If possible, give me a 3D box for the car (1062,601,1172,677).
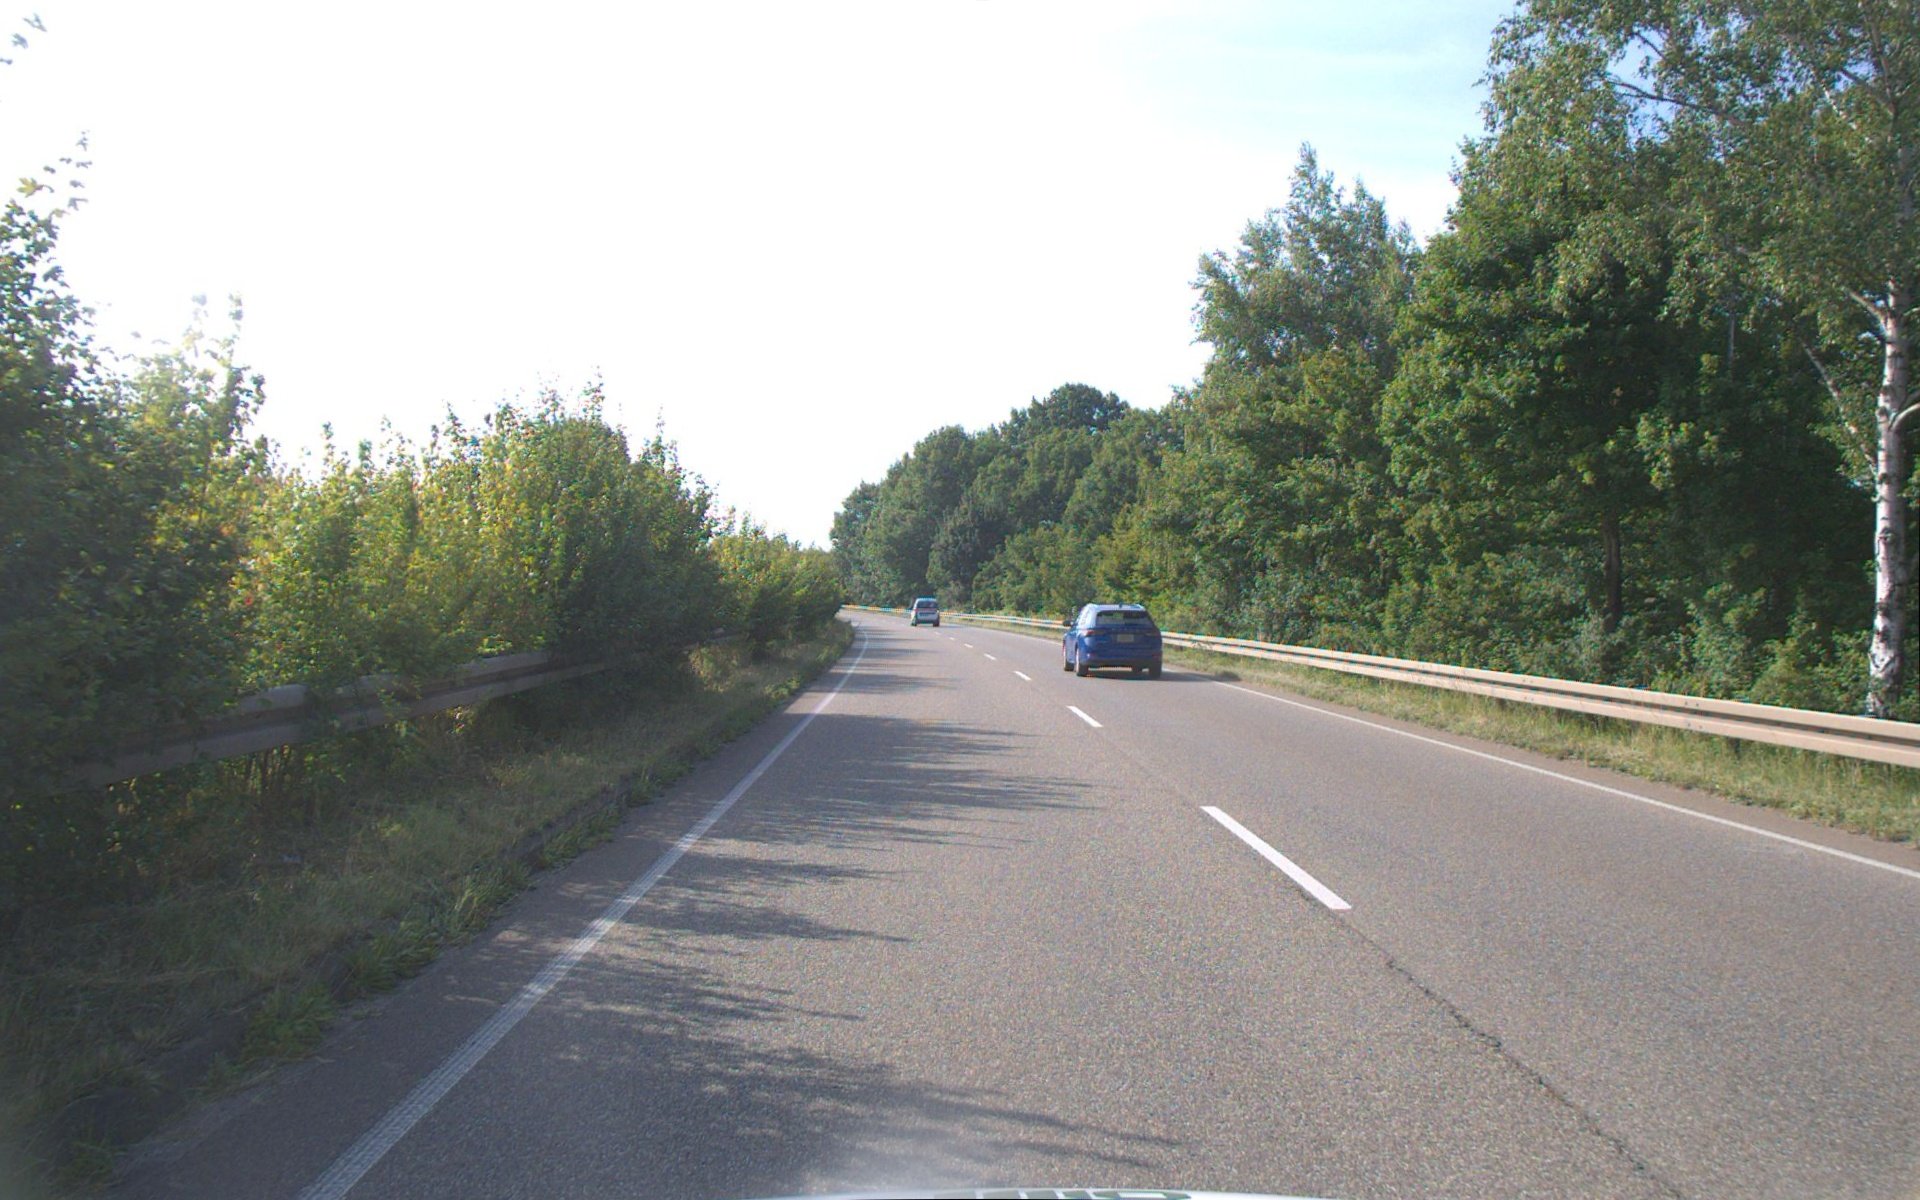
[{"bbox_3d":[3.222,0.771,34.650,1.743,1.477,3.998,1,0,-3],"label":"car"}]

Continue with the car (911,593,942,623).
[{"bbox_3d":[-2.240,0.493,109.056,1.731,1.914,3.996,1,1,-6],"label":"car"}]
